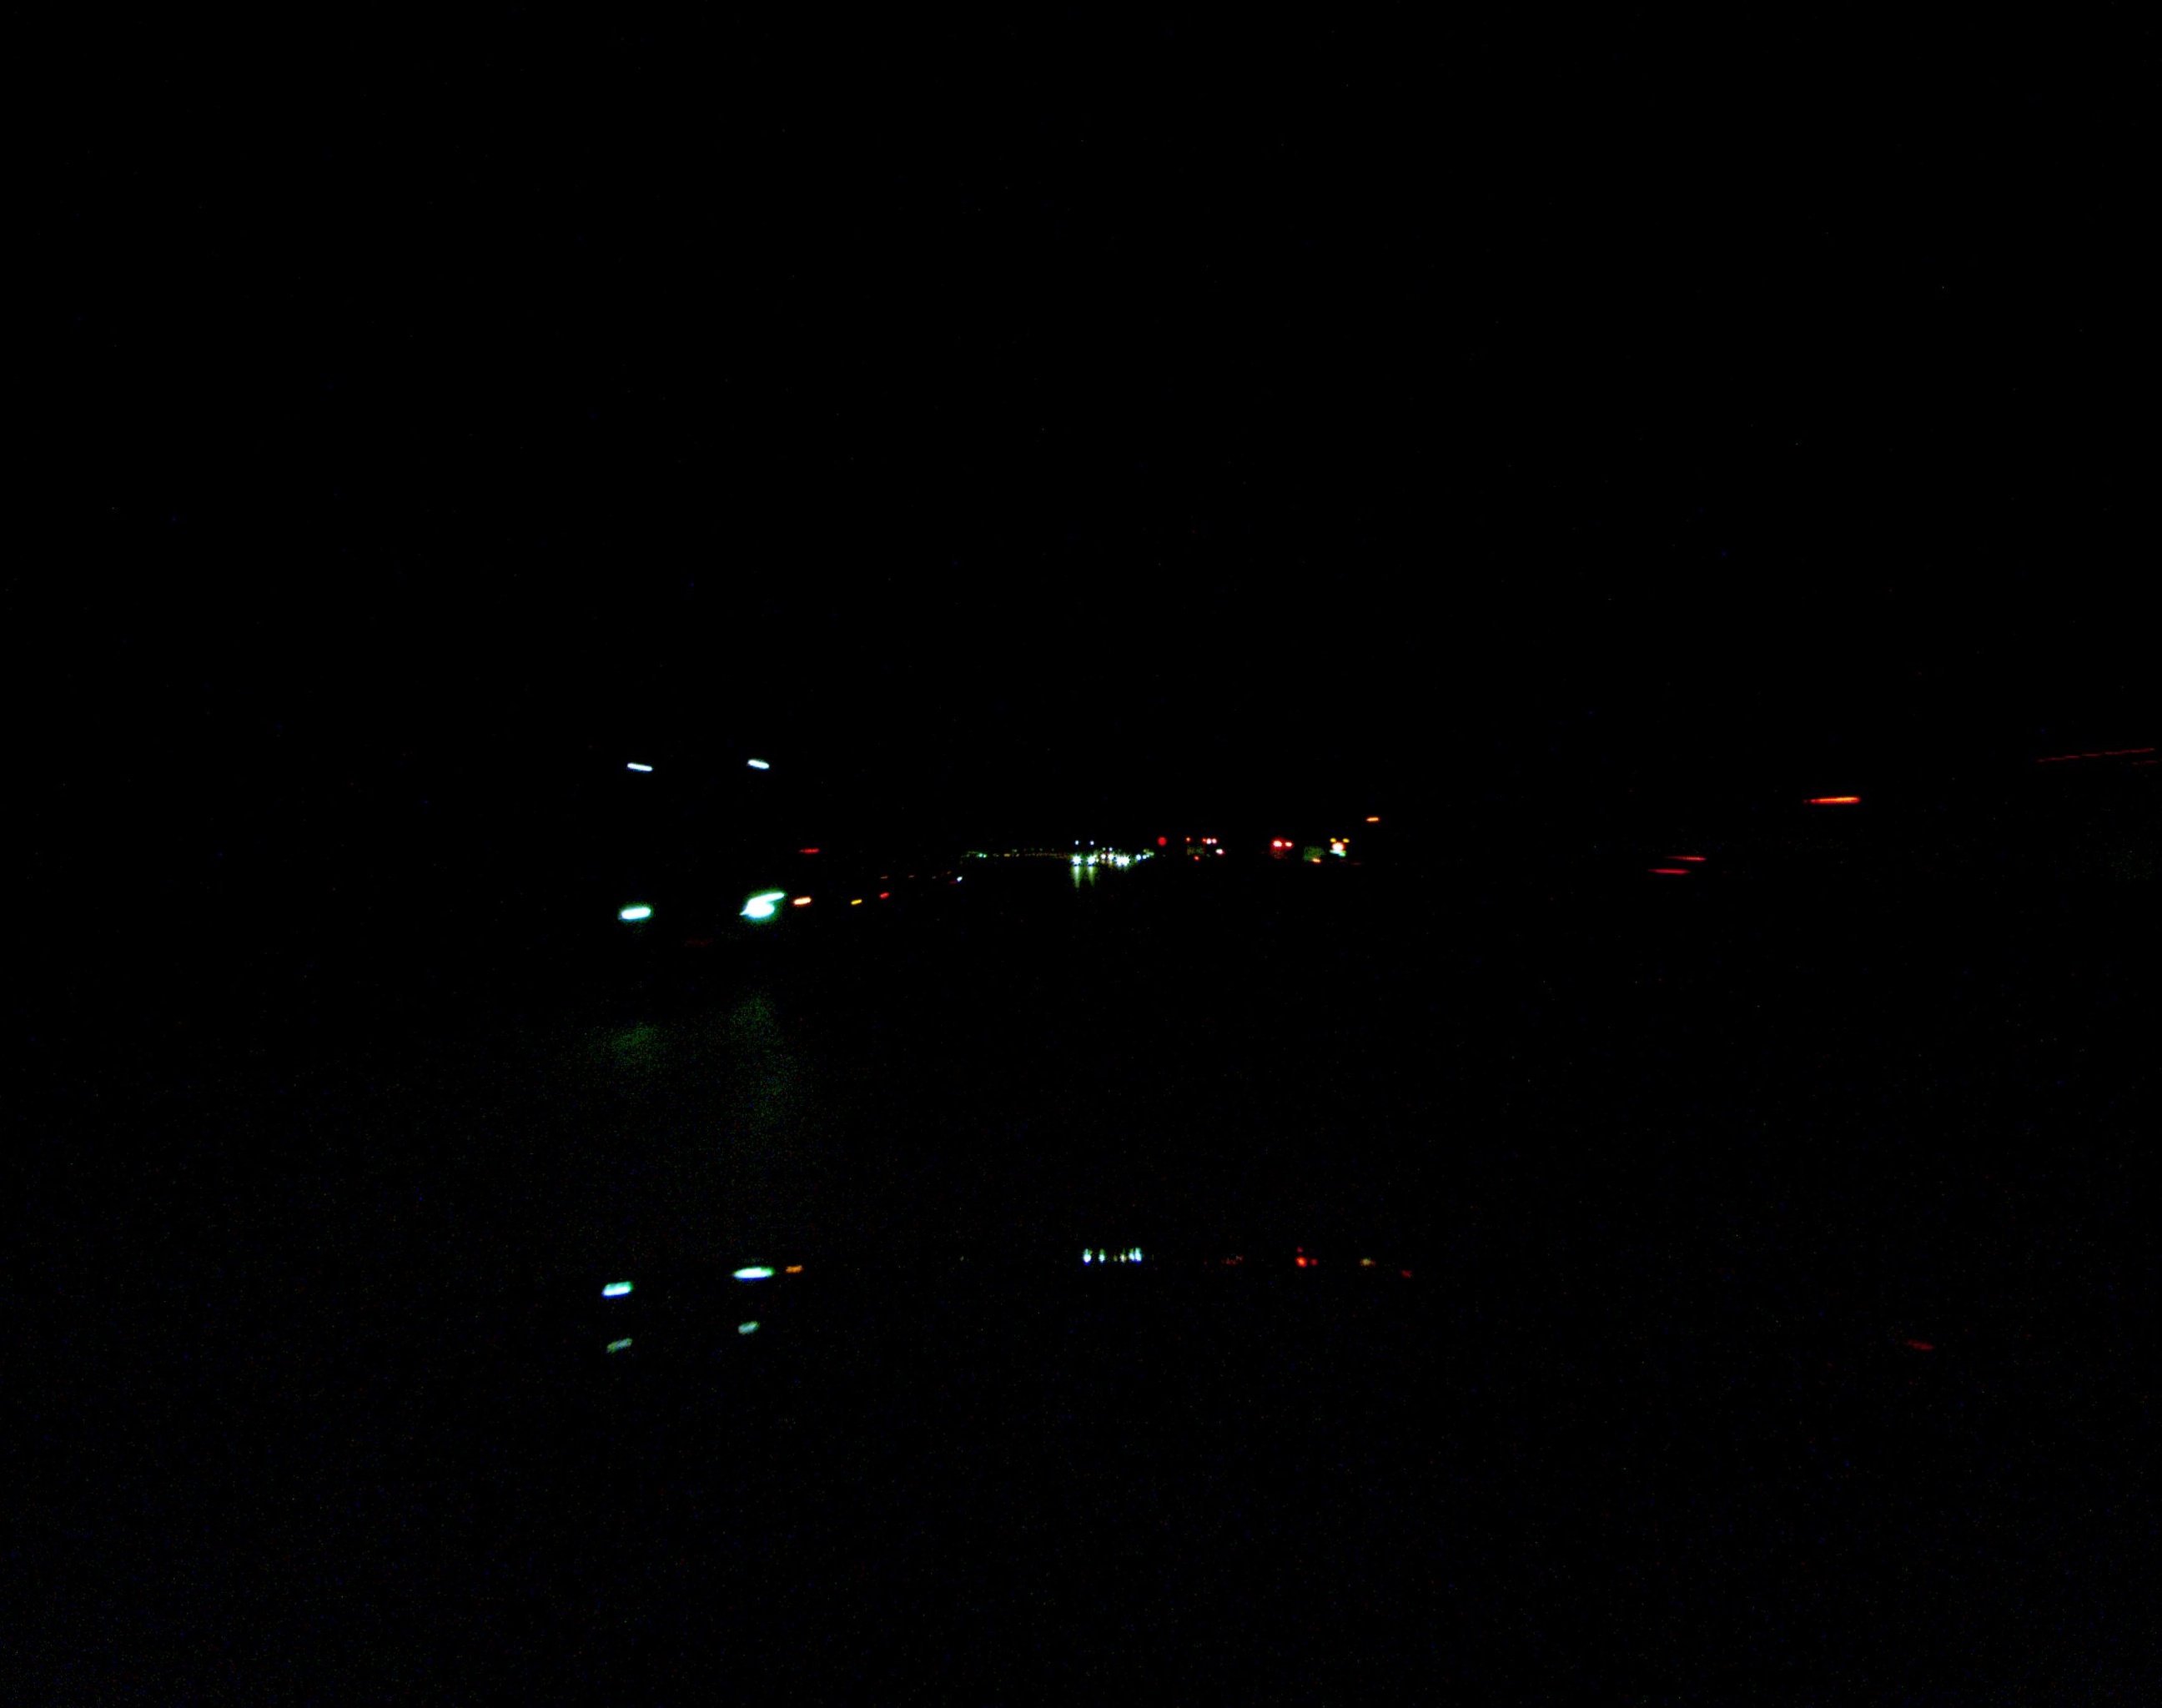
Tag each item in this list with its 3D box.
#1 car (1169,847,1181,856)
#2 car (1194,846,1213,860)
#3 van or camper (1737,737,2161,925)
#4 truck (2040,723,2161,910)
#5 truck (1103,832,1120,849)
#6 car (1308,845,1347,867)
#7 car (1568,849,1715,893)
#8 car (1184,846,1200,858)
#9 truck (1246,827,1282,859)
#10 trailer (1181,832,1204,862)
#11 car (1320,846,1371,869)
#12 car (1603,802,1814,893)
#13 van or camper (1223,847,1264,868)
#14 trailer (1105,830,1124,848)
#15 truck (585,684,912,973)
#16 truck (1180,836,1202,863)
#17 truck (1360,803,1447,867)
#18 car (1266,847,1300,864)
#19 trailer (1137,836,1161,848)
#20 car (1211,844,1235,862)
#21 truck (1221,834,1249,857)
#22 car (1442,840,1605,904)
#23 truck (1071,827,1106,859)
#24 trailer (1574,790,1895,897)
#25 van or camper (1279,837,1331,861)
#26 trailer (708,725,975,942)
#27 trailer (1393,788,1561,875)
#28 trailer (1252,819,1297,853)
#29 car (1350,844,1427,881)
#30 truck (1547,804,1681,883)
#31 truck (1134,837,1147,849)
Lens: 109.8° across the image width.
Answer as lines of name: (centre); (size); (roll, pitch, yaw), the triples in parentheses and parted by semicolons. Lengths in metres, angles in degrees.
car: (13.124, -0.354, 106.479); (1.574, 1.346, 4.001); (0, 0, 5)
car: (11.912, -0.108, 73.934); (1.574, 1.346, 4.001); (0, 0, 5)
van or camper: (18.998, -0.419, 16.887); (2.439, 3.253, 7.393); (0, 0, 0)
truck: (22.555, -0.719, 13.077); (2.890, 3.654, 7.263); (0, 1, 0)
truck: (8.367, -3.753, 209.970); (2.871, 3.820, 8.055); (-3, 5, 14)
car: (15.877, 0.128, 49.120); (1.574, 1.346, 4.001); (0, 0, 5)
car: (18.719, 0.518, 25.679); (1.574, 1.346, 4.641); (0, 0, 0)
car: (12.358, -0.261, 84.953); (1.574, 1.346, 4.001); (0, 0, 5)
truck: (19.641, -1.181, 81.679); (2.650, 3.201, 5.795); (-2, 1, 3)
trailer: (16.440, -1.182, 112.933); (3.096, 4.065, 12.453); (-2, 1, 8)
car: (15.912, 0.183, 45.894); (1.800, 1.346, 4.240); (0, 0, 3)
car: (15.763, -0.187, 19.410); (1.999, 2.002, 3.998); (-2, 1, -1)
van or camper: (11.337, 0.213, 53.216); (1.824, 1.346, 5.351); (0, 0, 1)
trailer: (9.547, -4.345, 215.643); (2.879, 3.911, 12.888); (-3, 4, 13)
truck: (-5.582, -0.375, 14.570); (2.869, 4.053, 7.510); (1, 0, 0)
truck: (17.452, -0.732, 120.867); (3.114, 4.074, 7.078); (-2, 1, 7)
truck: (18.957, -1.059, 45.133); (2.409, 3.493, 6.724); (-1, 0, 1)
car: (15.970, 0.108, 60.276); (1.800, 1.346, 4.240); (0, 0, 3)
trailer: (23.429, -4.090, 261.343); (2.834, 3.953, 15.788); (0, 2, 26)
car: (11.976, -0.097, 64.218); (1.661, 1.462, 4.001); (0, 0, 5)
truck: (20.406, -1.054, 101.266); (2.563, 2.942, 8.173); (0, 0, 3)
car: (10.299, 0.360, 18.061); (1.574, 1.346, 4.000); (0, 0, 0)
truck: (1.249, -1.743, 107.786); (3.490, 4.112, 18.710); (-1, 2, 5)
trailer: (23.333, -0.395, 28.516); (2.400, 3.192, 11.178); (-1, 1, 0)
van or camper: (19.477, -0.428, 66.443); (2.193, 2.002, 7.640); (0, 0, -1)
trailer: (-5.456, -0.423, 20.963); (2.861, 4.044, 13.205); (1, 0, 1)
trailer: (18.836, -1.006, 37.282); (2.400, 3.606, 11.178); (-1, 1, 0)
trailer: (19.338, -1.813, 76.447); (2.612, 3.158, 9.003); (-2, 1, 3)
car: (11.889, 0.289, 29.621); (1.574, 1.346, 4.001); (0, 0, 3)
truck: (23.304, -0.467, 33.523); (2.400, 3.192, 4.906); (-1, 1, -1)
truck: (19.850, -3.823, 254.111); (2.895, 3.950, 4.006); (0, 2, 26)
